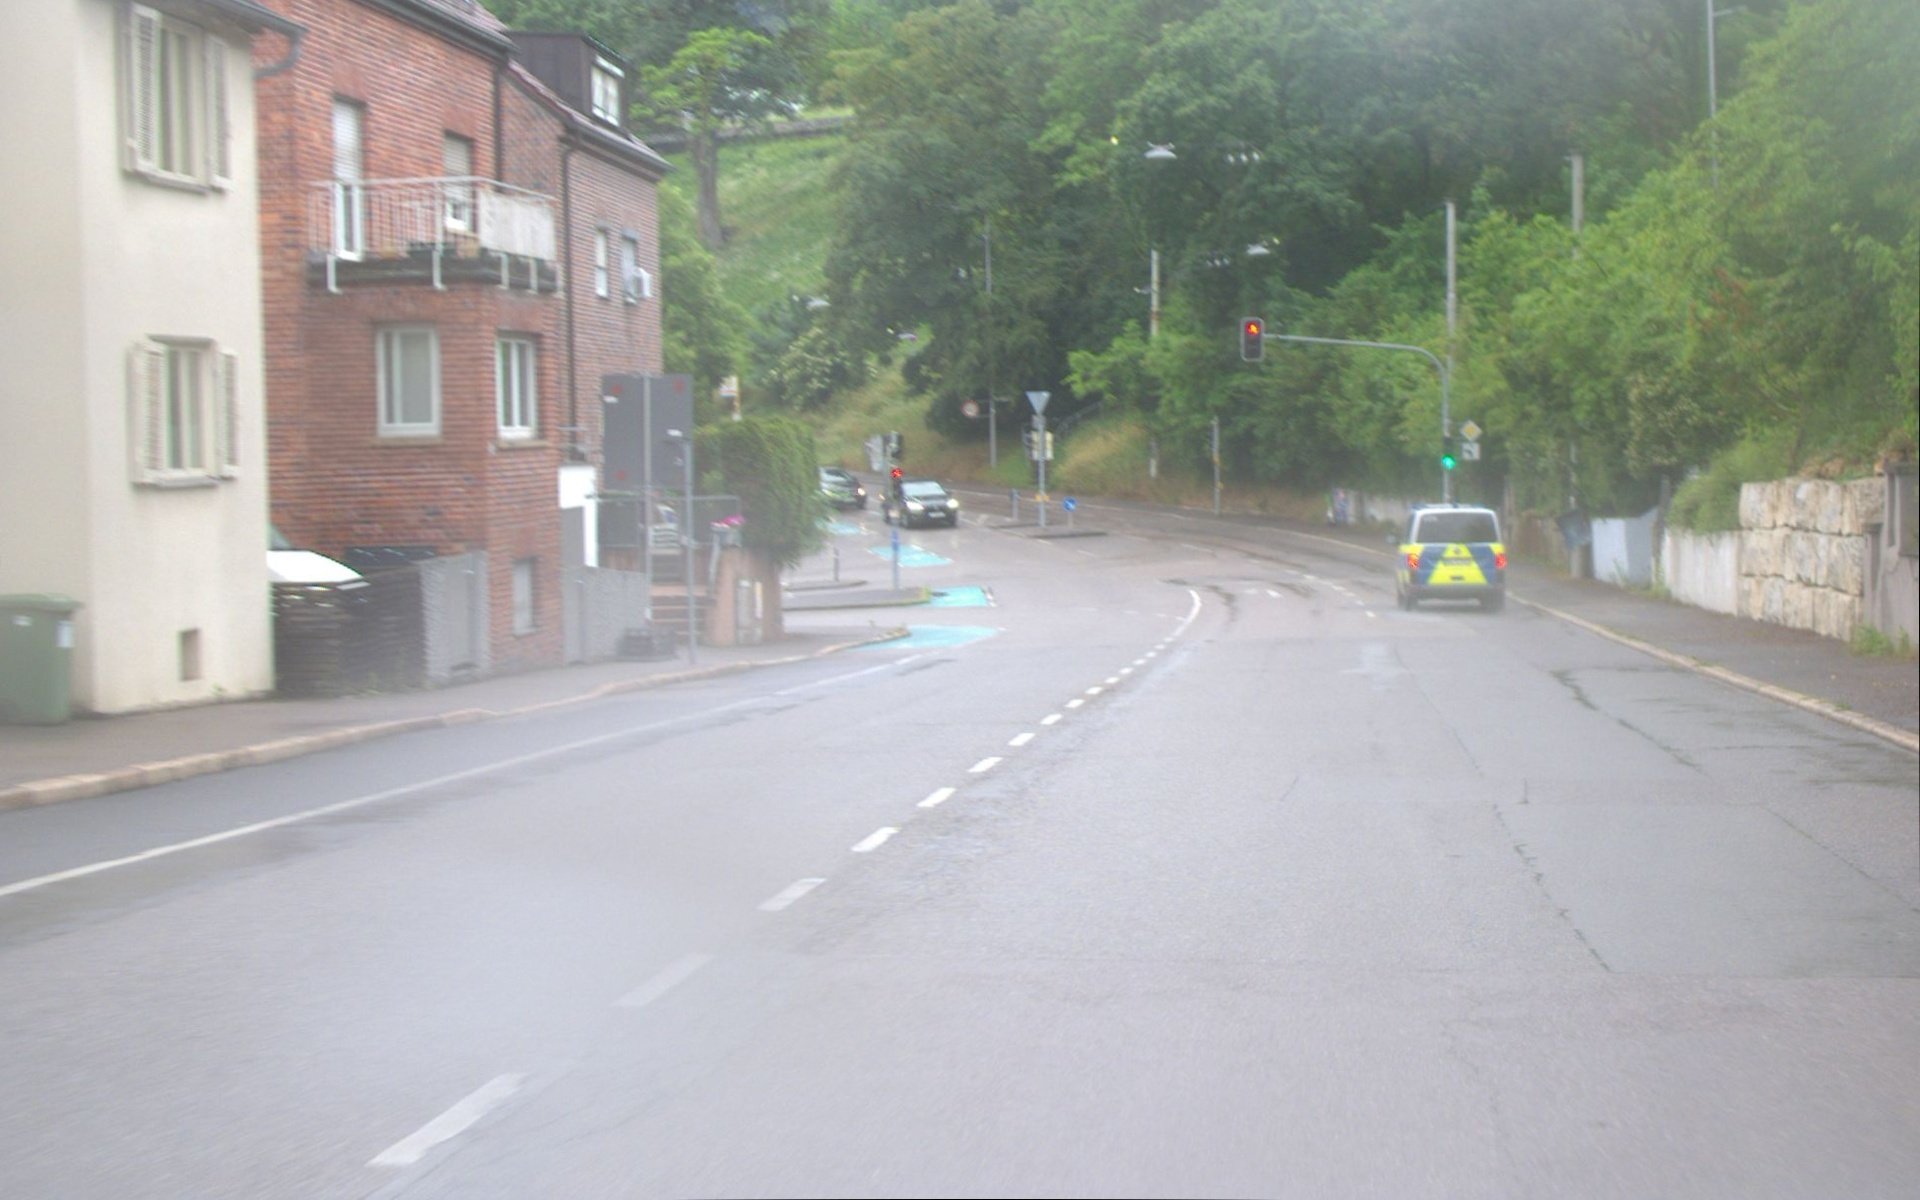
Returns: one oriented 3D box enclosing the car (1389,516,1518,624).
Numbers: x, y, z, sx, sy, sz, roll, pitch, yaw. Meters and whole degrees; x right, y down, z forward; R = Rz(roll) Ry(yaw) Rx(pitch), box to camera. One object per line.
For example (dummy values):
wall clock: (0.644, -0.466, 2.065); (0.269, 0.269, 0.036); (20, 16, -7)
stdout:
car: (9.386, -0.596, 65.452); (2.309, 1.933, 4.324); (-2, 1, 8)

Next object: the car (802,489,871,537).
car: (-4.389, -3.114, 122.025); (1.741, 1.544, 4.001); (-4, 3, -11)

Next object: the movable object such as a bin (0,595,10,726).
movable object such as a bin: (-8.068, 0.484, 27.327); (0.782, 1.043, 0.708); (1, 0, 7)

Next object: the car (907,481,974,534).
car: (-0.658, -3.098, 114.713); (1.741, 1.544, 4.002); (-4, 4, -6)

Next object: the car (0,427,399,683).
car: (-9.354, -0.446, 35.576); (6.656, 2.545, 2.167); (0, -1, 7)

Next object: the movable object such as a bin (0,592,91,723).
movable object such as a bin: (-7.620, 0.465, 28.094); (0.782, 1.043, 0.738); (1, 0, 7)
